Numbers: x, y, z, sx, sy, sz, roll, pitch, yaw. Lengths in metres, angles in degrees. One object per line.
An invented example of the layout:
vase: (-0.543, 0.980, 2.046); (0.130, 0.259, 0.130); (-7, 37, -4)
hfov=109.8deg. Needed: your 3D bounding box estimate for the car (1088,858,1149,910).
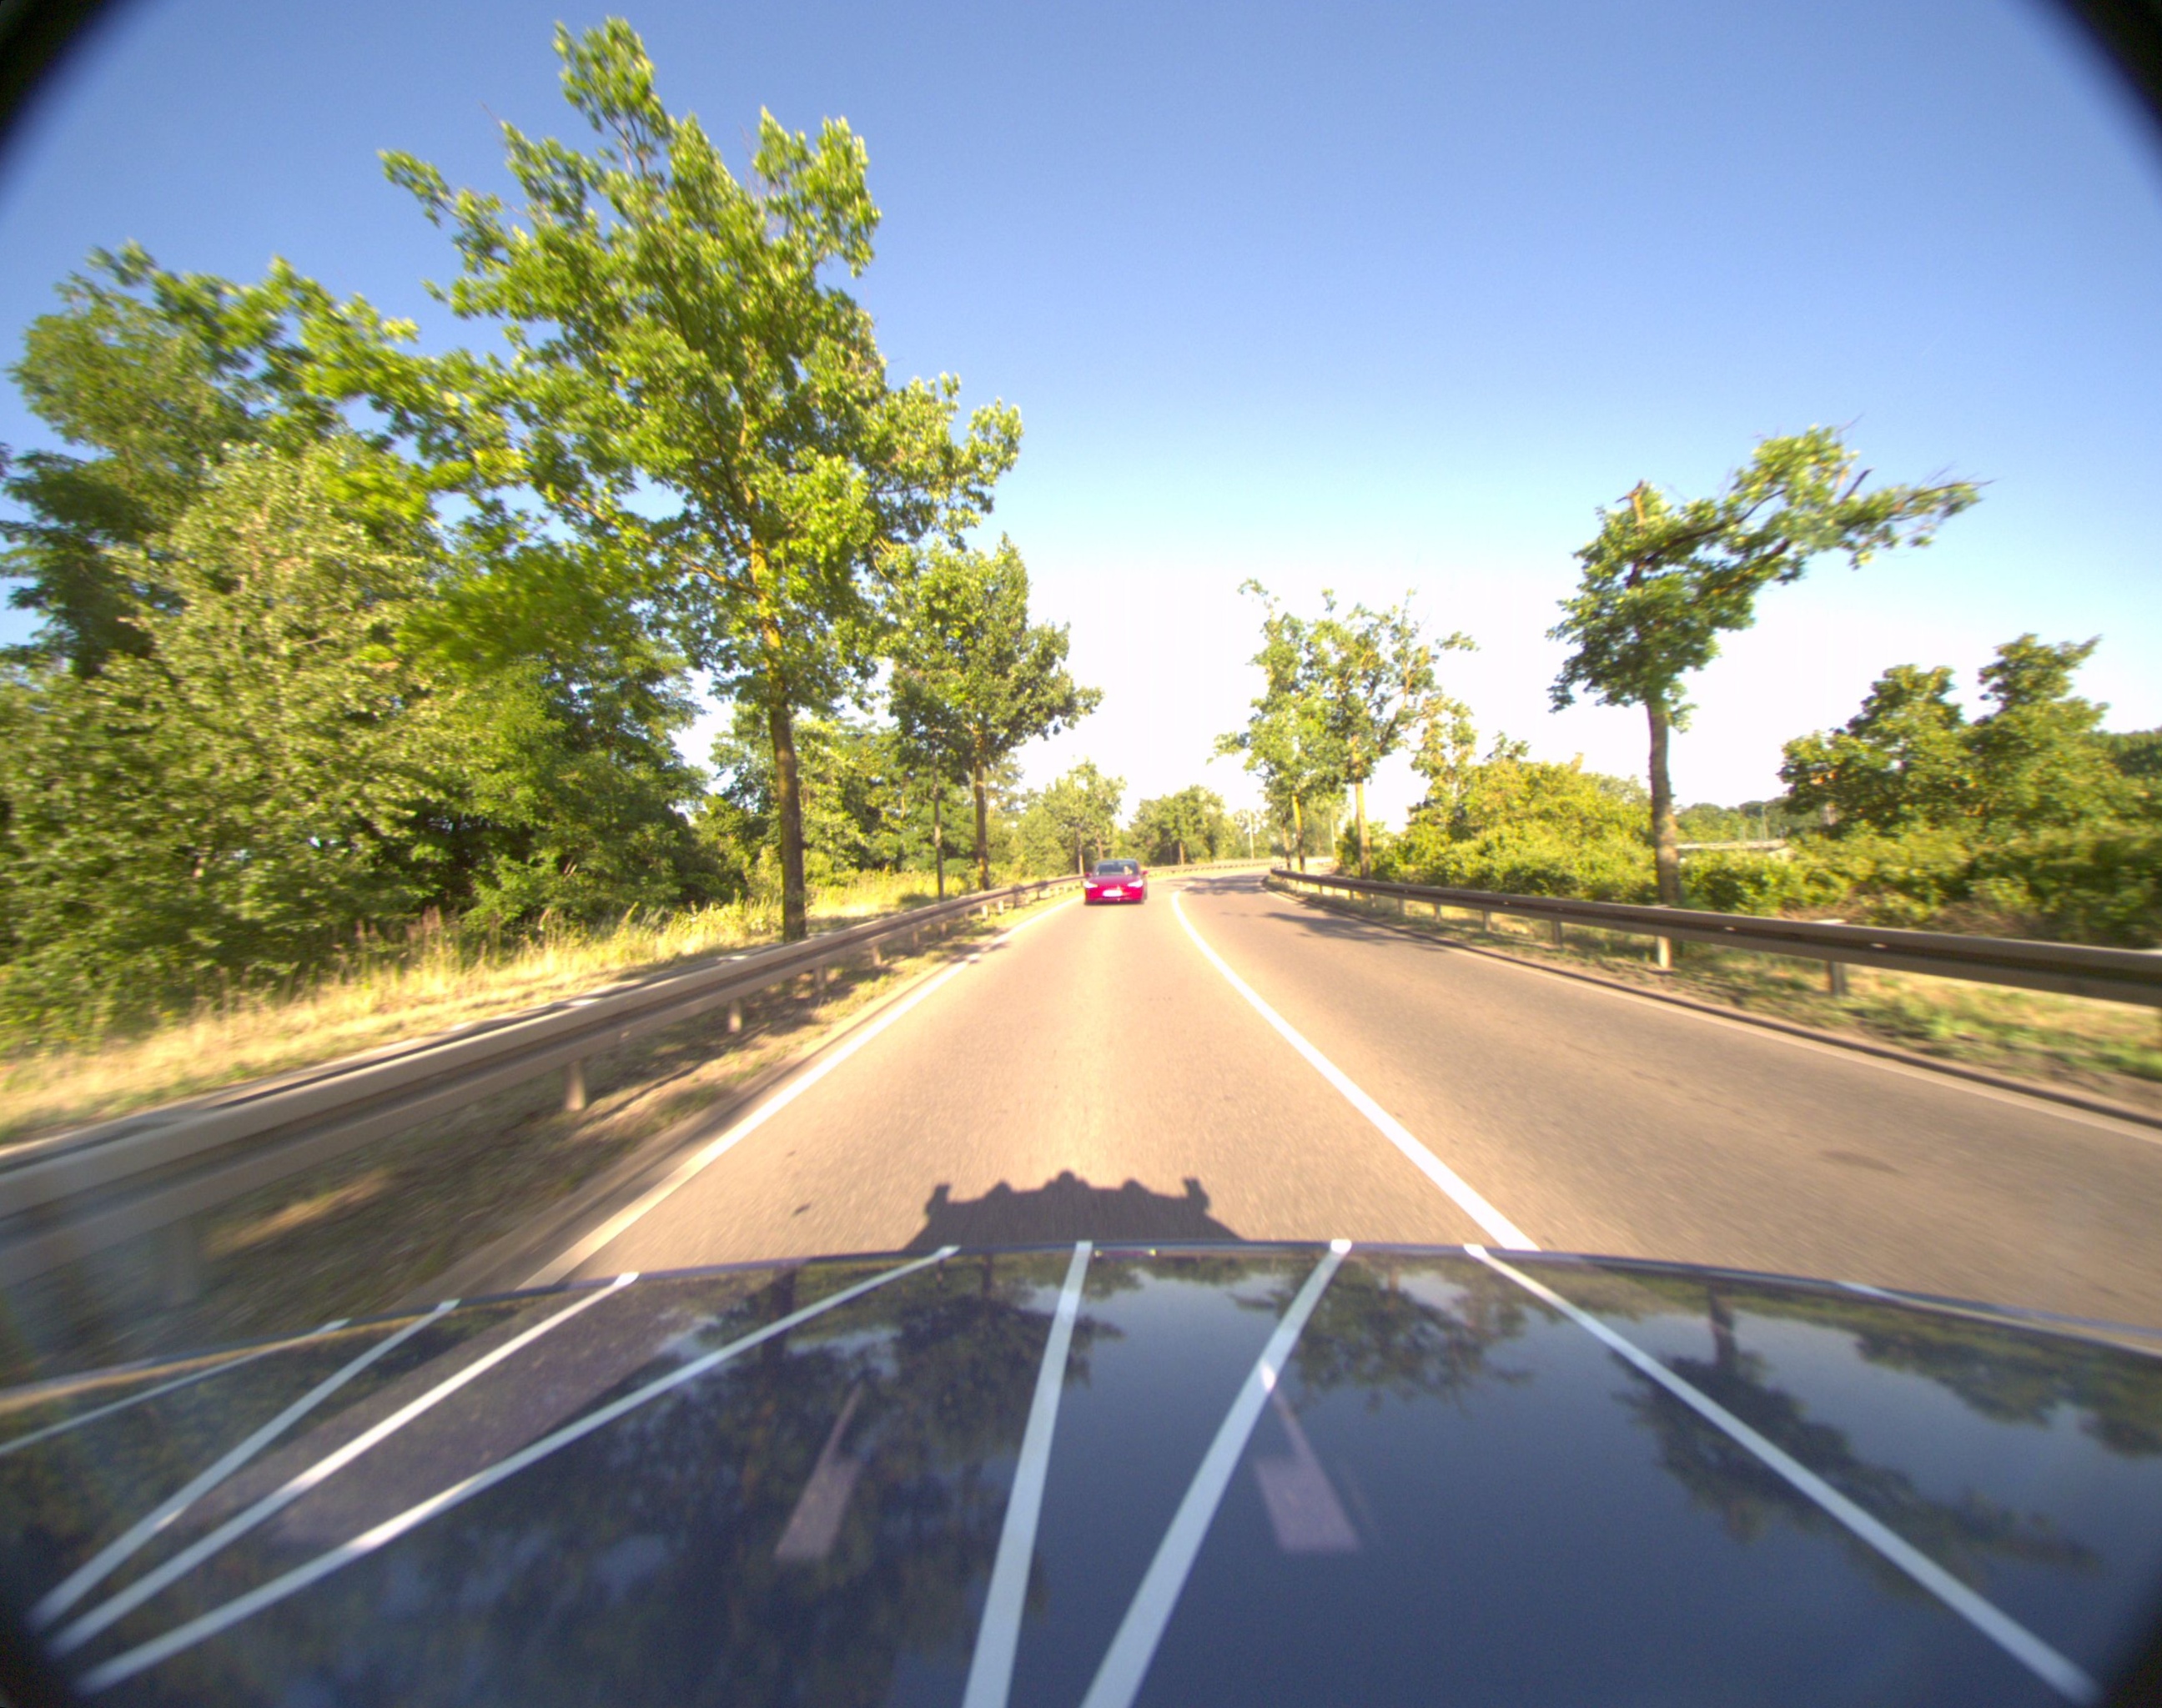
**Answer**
car: (1.153, 0.925, 25.078); (1.781, 1.434, 4.359); (-2, 1, 1)
